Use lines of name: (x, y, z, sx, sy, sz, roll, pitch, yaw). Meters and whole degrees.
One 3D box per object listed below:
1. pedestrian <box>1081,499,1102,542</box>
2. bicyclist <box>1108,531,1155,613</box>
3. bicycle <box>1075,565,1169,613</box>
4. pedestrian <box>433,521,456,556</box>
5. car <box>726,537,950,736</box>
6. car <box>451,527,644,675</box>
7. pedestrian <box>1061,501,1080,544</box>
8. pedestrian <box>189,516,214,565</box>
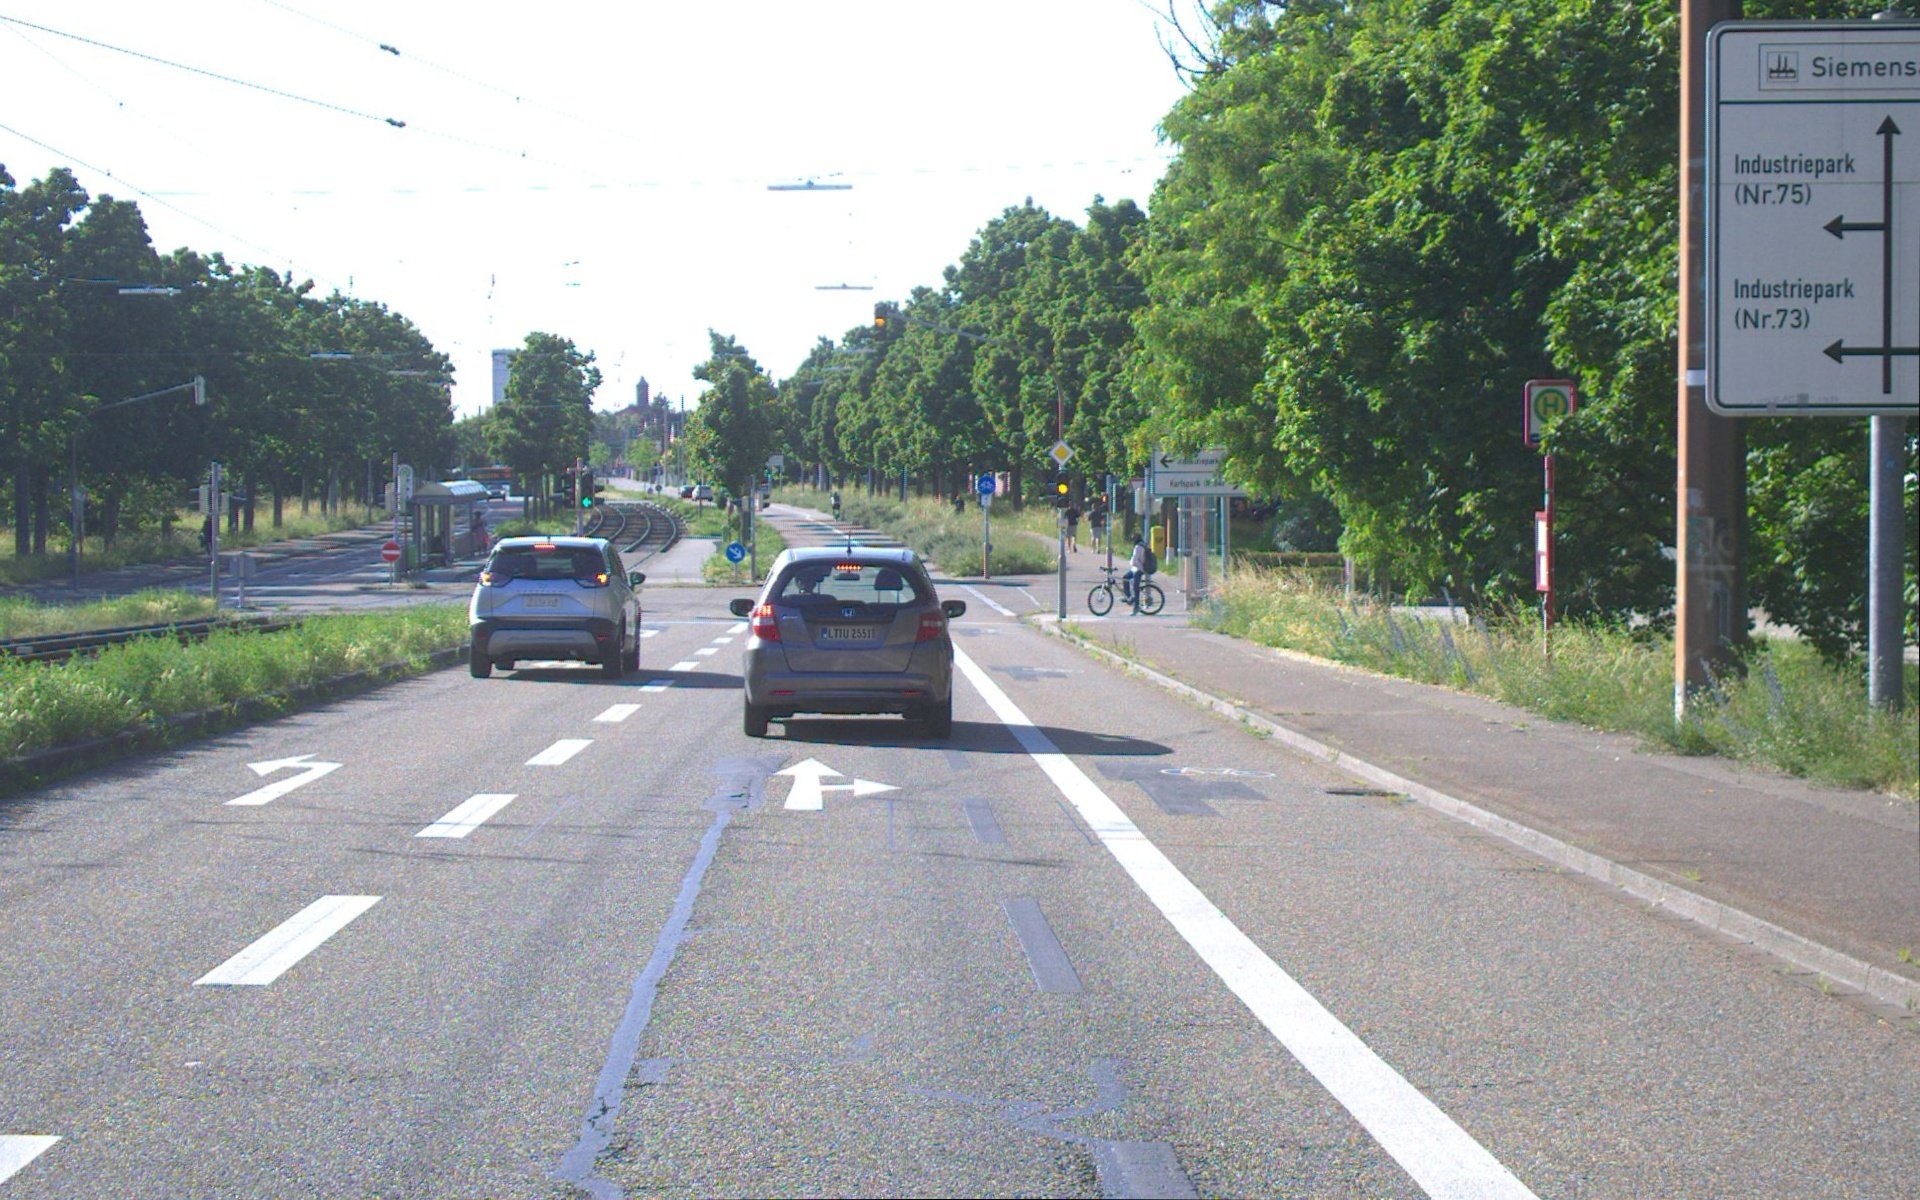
pedestrian: (4.923, -2.971, 128.778, 0.678, 1.604, 0.721, 2, 1, -4)
bicyclist: (3.702, -0.608, 74.077, 0.910, 1.739, 0.764, -1, 0, 10)
bicycle: (3.498, -0.237, 74.118, 1.920, 0.994, 0.764, -1, 0, 10)
pedestrian: (-18.004, -2.150, 120.047, 0.721, 1.241, 0.711, 0, 1, -3)
car: (-0.970, 0.252, 28.707, 1.707, 1.503, 4.000, 1, 1, -1)
car: (-4.732, -0.029, 39.934, 1.850, 1.601, 4.255, 1, 1, -2)
pedestrian: (4.141, -2.888, 128.835, 0.567, 1.591, 0.666, 2, 1, -5)
pedestrian: (-31.187, -2.452, 141.419, 0.839, 2.007, 0.863, 1, 1, -3)
